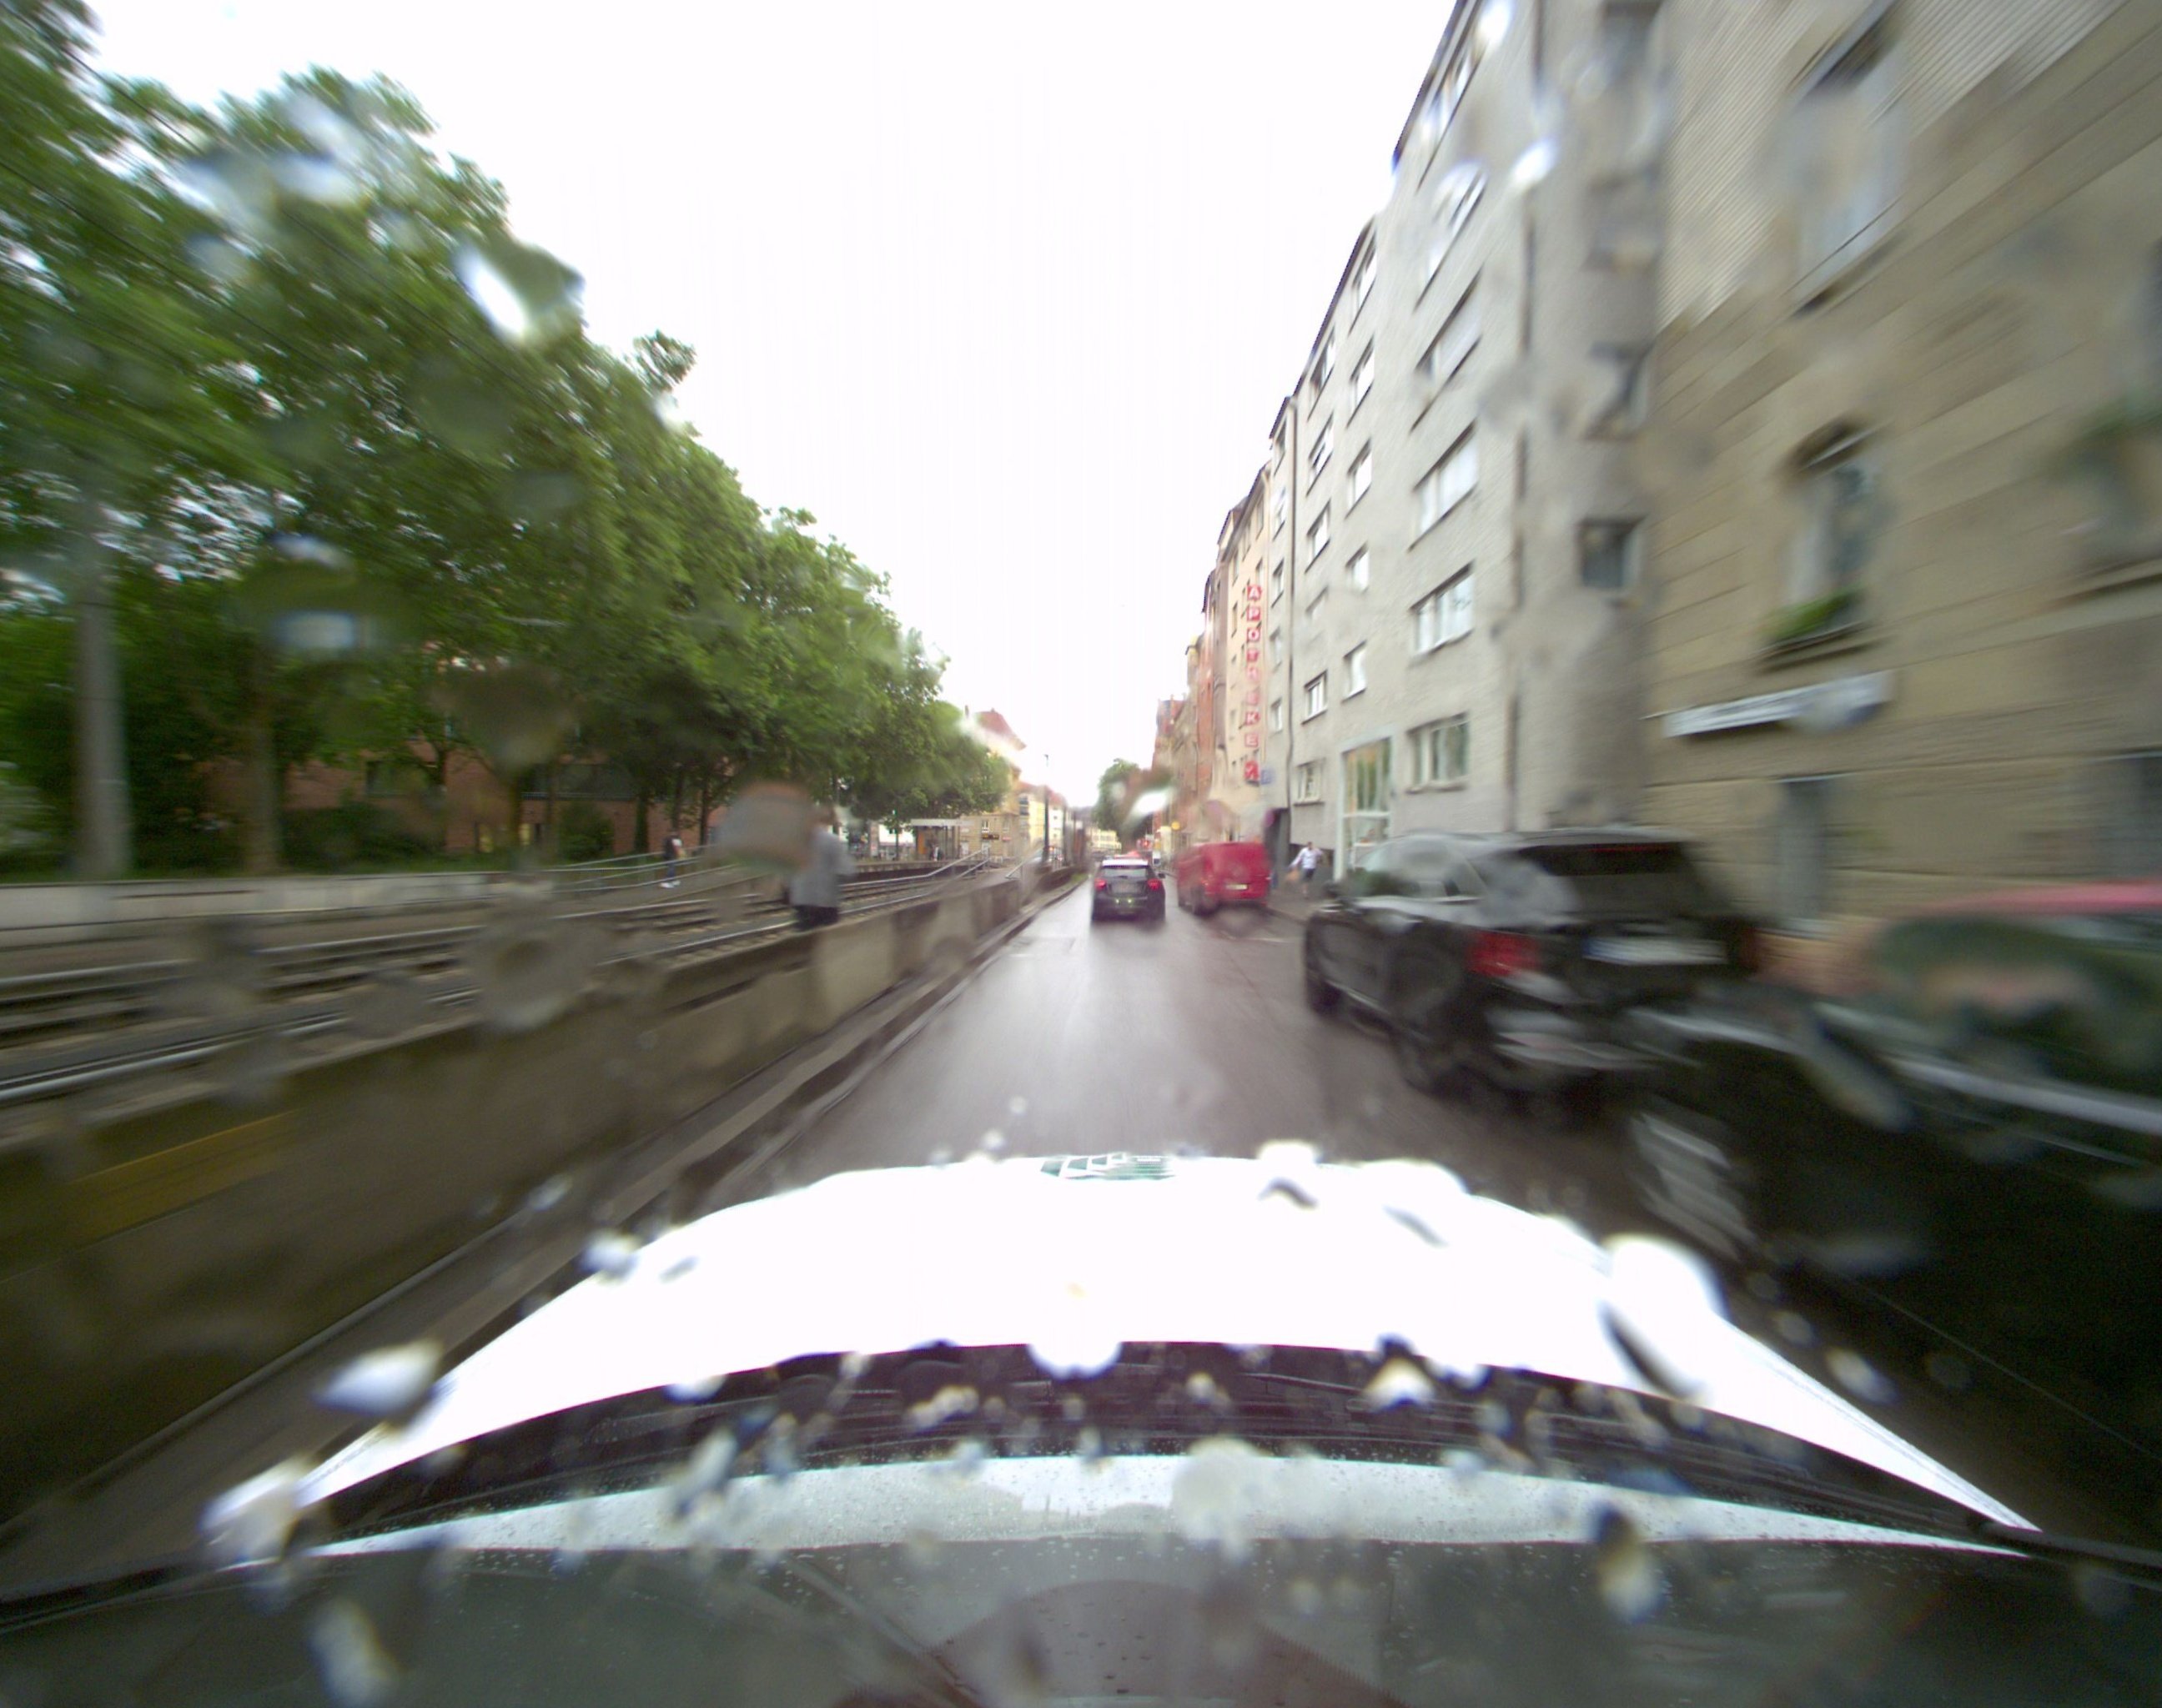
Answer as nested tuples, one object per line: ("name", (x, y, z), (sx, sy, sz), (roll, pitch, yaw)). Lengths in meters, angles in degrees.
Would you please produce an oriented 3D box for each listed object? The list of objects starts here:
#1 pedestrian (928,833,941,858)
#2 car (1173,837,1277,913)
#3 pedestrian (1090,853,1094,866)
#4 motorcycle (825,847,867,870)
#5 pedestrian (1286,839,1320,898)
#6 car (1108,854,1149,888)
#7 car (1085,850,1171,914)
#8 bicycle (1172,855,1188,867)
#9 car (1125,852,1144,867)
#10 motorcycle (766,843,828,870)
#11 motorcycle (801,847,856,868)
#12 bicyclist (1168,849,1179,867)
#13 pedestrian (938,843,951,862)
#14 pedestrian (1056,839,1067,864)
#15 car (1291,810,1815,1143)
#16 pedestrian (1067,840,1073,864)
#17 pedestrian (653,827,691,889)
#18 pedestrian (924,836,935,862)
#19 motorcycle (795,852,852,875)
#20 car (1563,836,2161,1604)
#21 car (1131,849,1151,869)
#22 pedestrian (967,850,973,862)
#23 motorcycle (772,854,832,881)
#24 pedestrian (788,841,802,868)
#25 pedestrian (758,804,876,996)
("pedestrian", (-9.581, -0.562, 53.379), (0.684, 1.641, 0.564), (1, 0, 0))
("car", (3.759, 0.533, 22.249), (1.968, 1.838, 5.245), (0, -1, 0))
("pedestrian", (1.362, 0.682, 101.869), (0.531, 1.530, 0.435), (1, -1, -6))
("motorcycle", (-18.920, 0.341, 65.565), (3.026, 1.816, 0.993), (1, -1, 0))
("pedestrian", (6.841, 0.445, 25.130), (0.848, 1.757, 0.838), (1, -1, 2))
("car", (2.104, 0.744, 36.967), (1.674, 1.489, 3.612), (0, 0, 0))
("car", (1.137, 0.607, 19.952), (1.887, 1.390, 4.003), (-1, 0, 3))
("bicycle", (9.143, 0.640, 75.202), (1.698, 1.115, 0.459), (0, -2, -42))
("car", (6.397, 0.653, 97.536), (1.927, 1.831, 4.280), (1, 0, 0))
("motorcycle", (-19.439, 0.200, 55.800), (3.851, 1.774, 1.006), (1, -1, 0))
("motorcycle", (-19.434, 0.265, 62.667), (3.851, 1.488, 1.006), (1, -1, 0))
("bicyclist", (8.611, 0.378, 75.783), (0.855, 1.657, 0.624), (0, -2, -42))
("pedestrian", (-9.714, -0.092, 58.053), (0.775, 1.362, 0.564), (1, 0, 0))
("pedestrian", (-1.267, -0.177, 53.282), (0.492, 1.605, 0.640), (0, -1, 19))
("car", (3.014, 0.625, 6.466), (1.758, 1.708, 4.503), (0, 0, 3))
("pedestrian", (-0.739, -0.125, 55.410), (0.408, 1.605, 0.450), (0, -1, -4))
("pedestrian", (-11.432, 0.098, 22.782), (0.655, 1.662, 0.688), (1, 3, 2))
("pedestrian", (-10.263, -0.359, 55.068), (0.560, 1.715, 0.706), (1, 0, 0))
("motorcycle", (-19.143, 0.720, 60.648), (3.851, 1.605, 1.006), (1, -1, 0))
("car", (2.932, 0.701, 2.006), (1.653, 1.452, 3.615), (1, 0, 6))
("car", (5.995, 0.522, 82.090), (1.913, 1.936, 4.689), (0, -1, 3))
("pedestrian", (-16.563, 0.352, 122.036), (0.758, 1.750, 0.645), (0, 0, 3))
("motorcycle", (-19.612, 0.936, 57.288), (3.851, 1.816, 1.006), (1, -1, 0))
("pedestrian", (-22.027, 0.030, 62.723), (0.730, 2.014, 0.981), (0, -1, 2))
("pedestrian", (-2.581, 0.433, 8.055), (0.856, 1.799, 0.787), (1, 0, 1))
